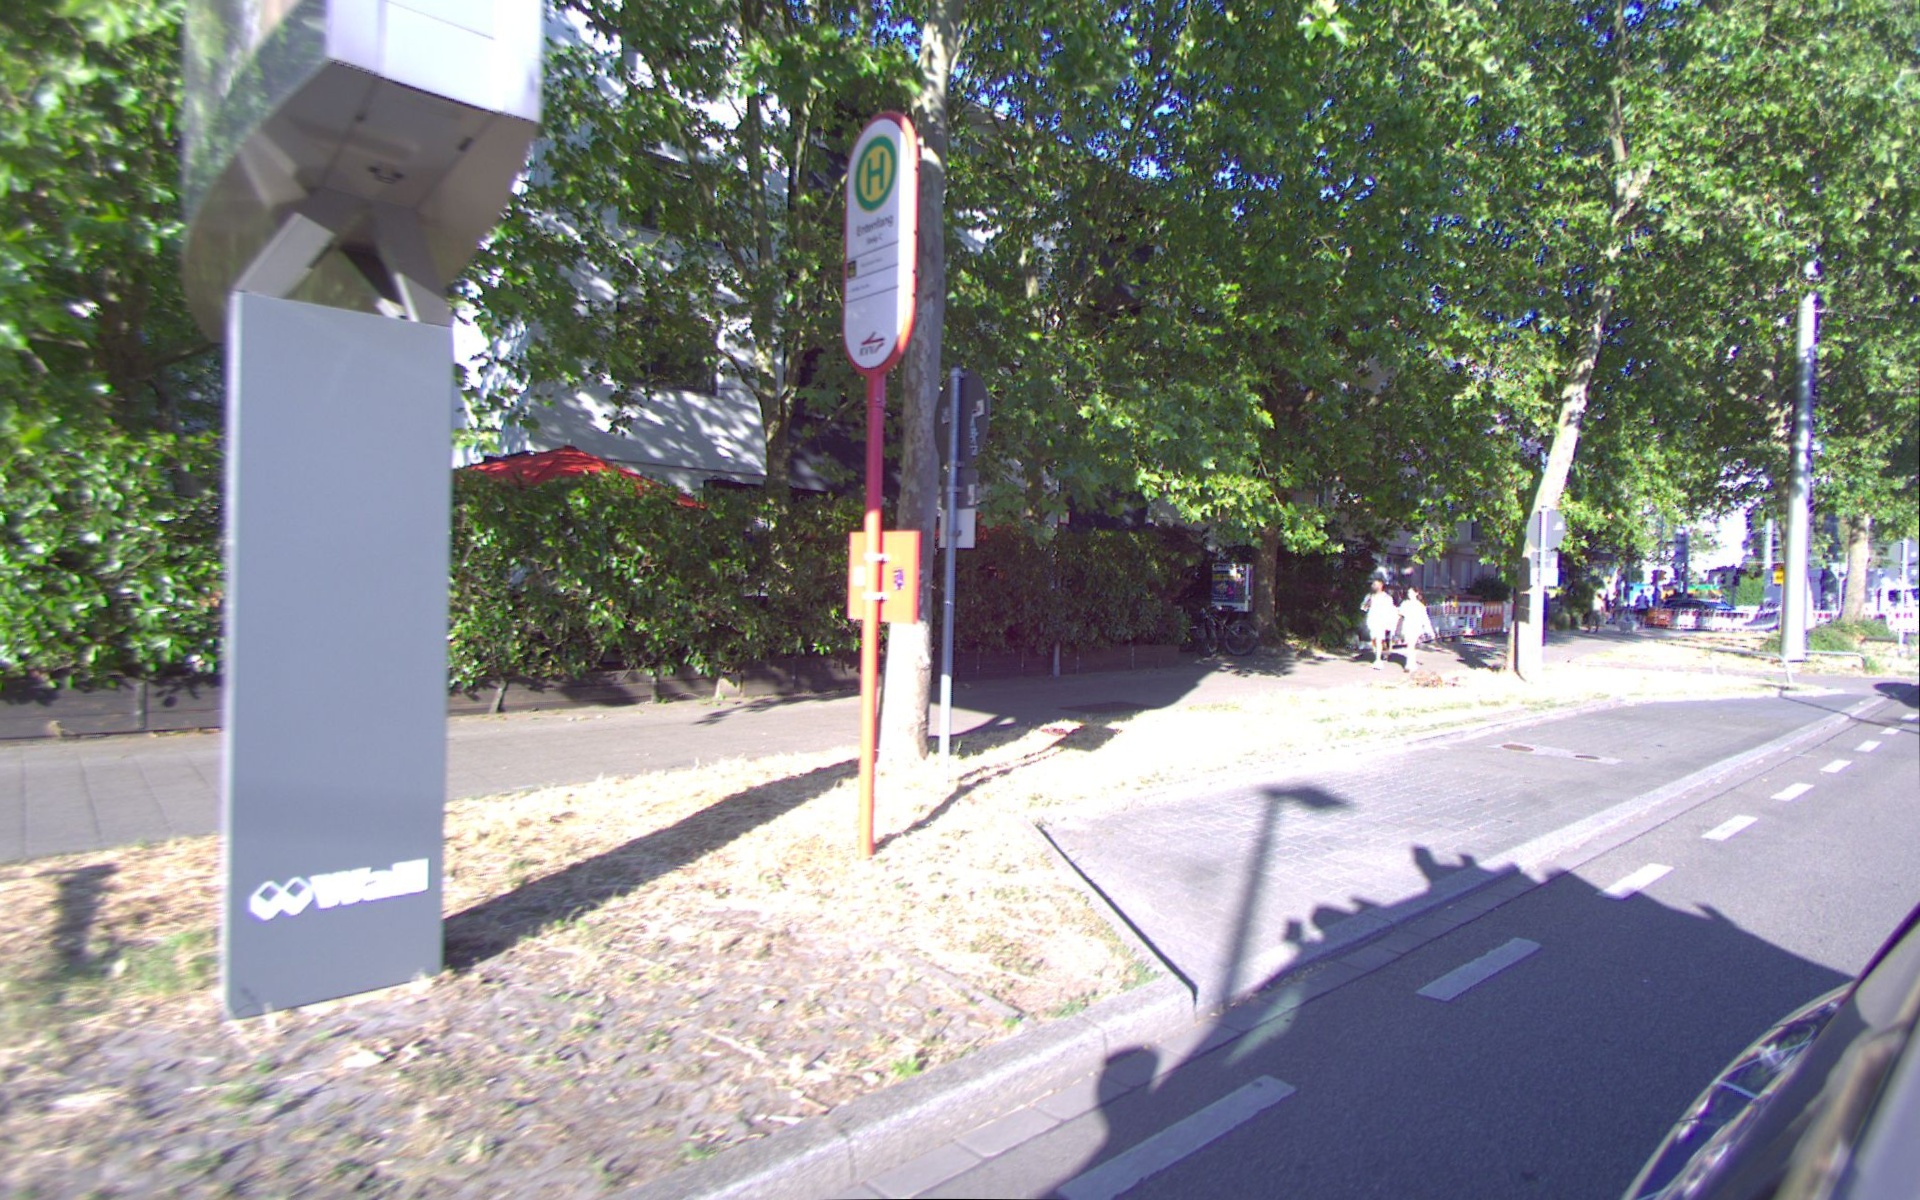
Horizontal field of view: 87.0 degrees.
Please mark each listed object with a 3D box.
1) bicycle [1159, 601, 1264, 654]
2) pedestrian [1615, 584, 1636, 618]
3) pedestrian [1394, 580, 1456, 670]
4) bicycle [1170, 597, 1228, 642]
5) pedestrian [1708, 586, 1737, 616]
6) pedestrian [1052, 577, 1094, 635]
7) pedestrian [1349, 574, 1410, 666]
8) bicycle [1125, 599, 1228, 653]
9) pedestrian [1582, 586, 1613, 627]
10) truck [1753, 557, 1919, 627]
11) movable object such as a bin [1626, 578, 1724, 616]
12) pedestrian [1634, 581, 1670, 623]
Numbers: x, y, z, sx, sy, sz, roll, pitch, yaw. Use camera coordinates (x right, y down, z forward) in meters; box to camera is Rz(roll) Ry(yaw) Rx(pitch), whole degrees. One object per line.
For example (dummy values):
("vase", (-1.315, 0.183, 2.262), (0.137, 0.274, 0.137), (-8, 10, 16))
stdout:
("bicycle", (5.425, 0.568, 21.975), (0.651, 1.037, 2.383), (1, 1, -34))
("pedestrian", (34.025, 0.061, 51.757), (0.573, 1.730, 0.680), (4, -2, -6))
("pedestrian", (8.555, 0.439, 18.620), (0.803, 1.592, 0.790), (1, 1, -45))
("bicycle", (5.669, 0.436, 23.914), (0.646, 0.982, 1.938), (2, 2, 35))
("pedestrian", (46.035, 0.060, 61.102), (0.955, 1.820, 1.072), (0, 1, -19))
("pedestrian", (2.787, 0.142, 24.919), (0.688, 1.398, 0.741), (1, 1, -38))
("pedestrian", (7.967, 0.360, 19.217), (0.803, 1.687, 0.790), (0, 1, -45))
("bicycle", (4.566, 0.524, 21.568), (0.651, 1.037, 2.384), (0, 2, -33))
("pedestrian", (23.832, 0.222, 37.851), (0.803, 1.492, 0.790), (1, 1, -45))
("truck", (49.214, -0.472, 55.802), (2.762, 3.585, 9.000), (1, 1, -11))
("movable object such as a bin", (45.252, -0.238, 64.255), (1.959, 2.285, 5.217), (-1, 1, -10))
("pedestrian", (34.602, 0.070, 50.619), (0.827, 1.890, 1.098), (7, 6, 8))
